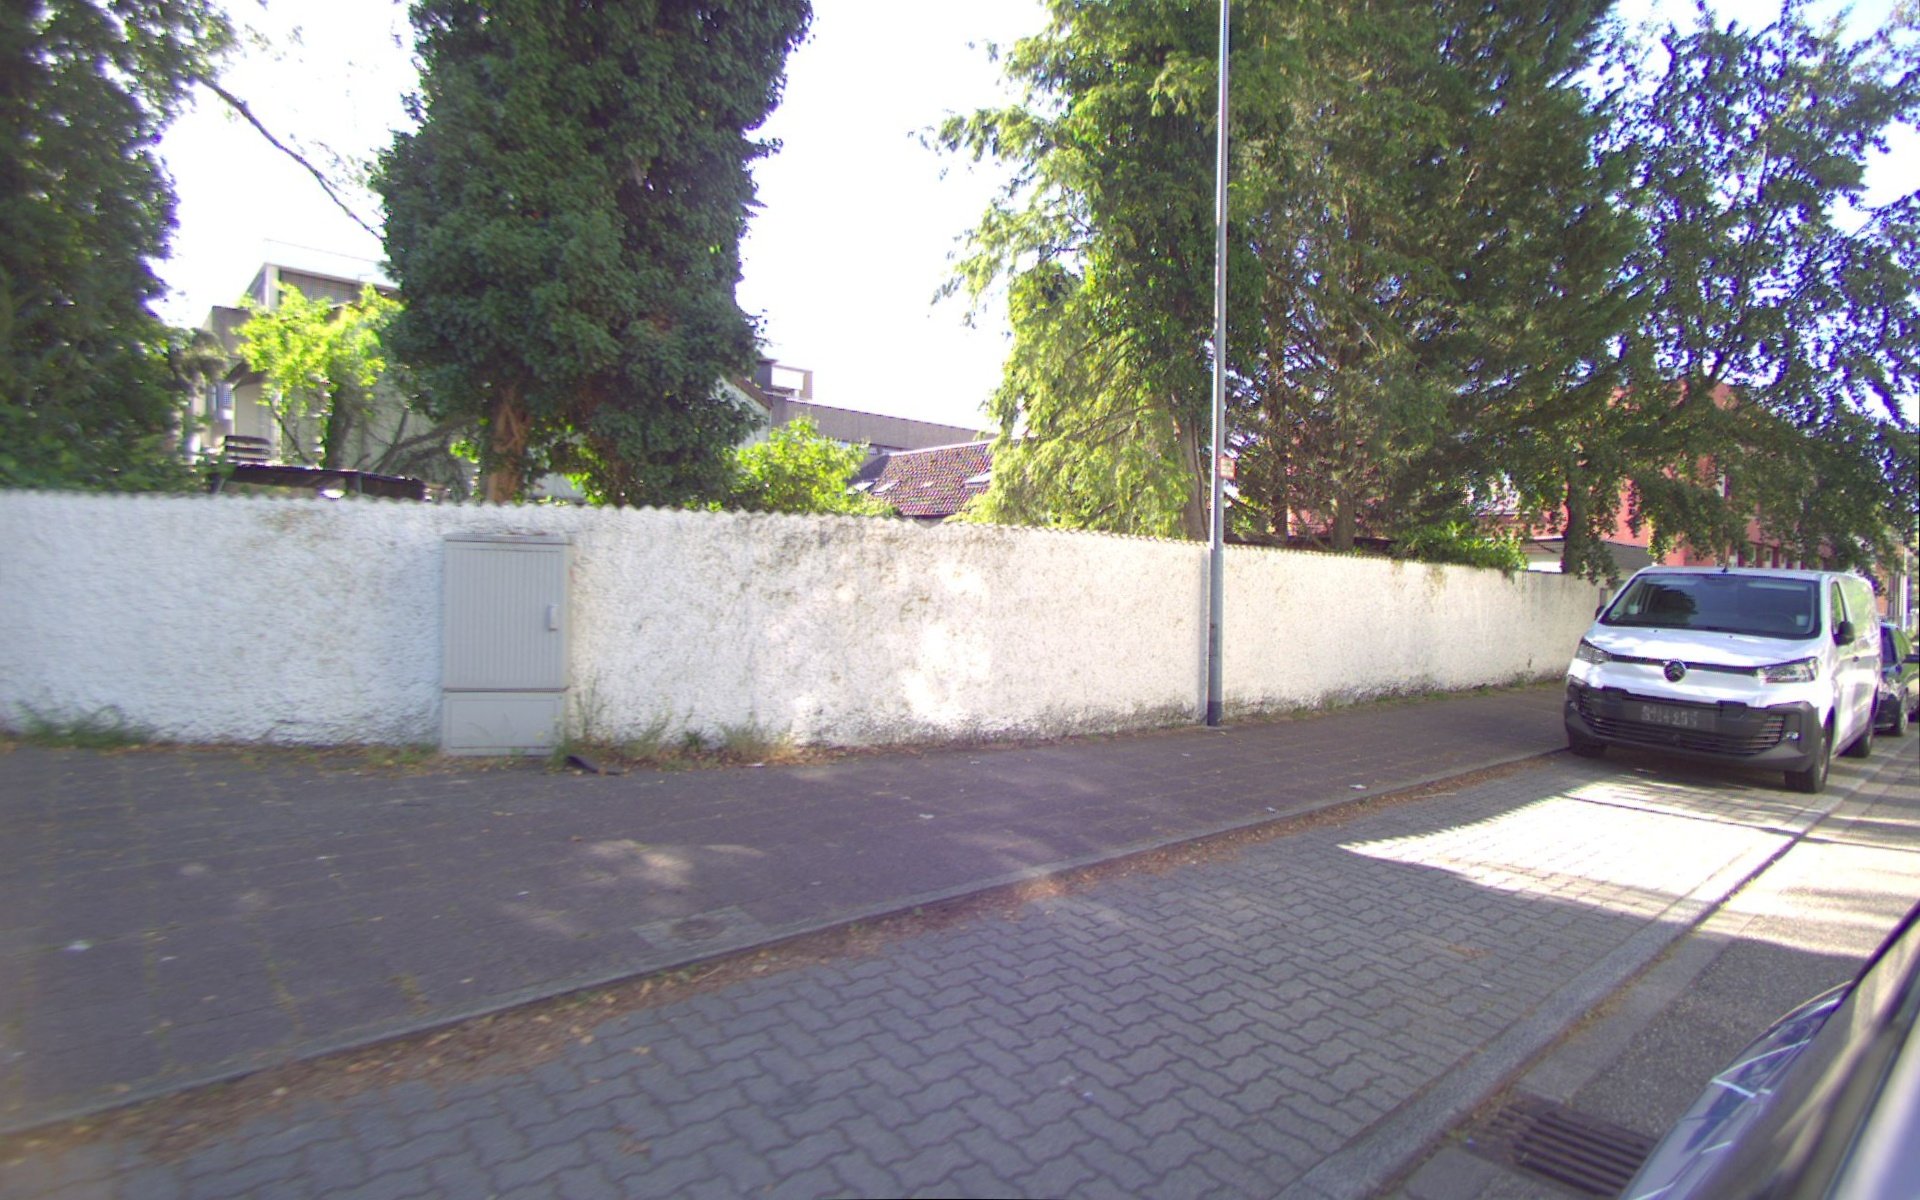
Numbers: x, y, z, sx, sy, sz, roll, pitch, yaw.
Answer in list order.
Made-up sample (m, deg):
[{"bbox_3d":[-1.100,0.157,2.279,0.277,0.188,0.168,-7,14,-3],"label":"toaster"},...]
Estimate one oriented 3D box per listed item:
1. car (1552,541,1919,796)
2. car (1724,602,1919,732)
[{"bbox_3d":[7.894,0.497,10.078,5.058,1.938,1.902,0,2,-41],"label":"car"},{"bbox_3d":[12.161,0.795,13.876,4.208,1.441,1.829,0,2,-41],"label":"car"}]
